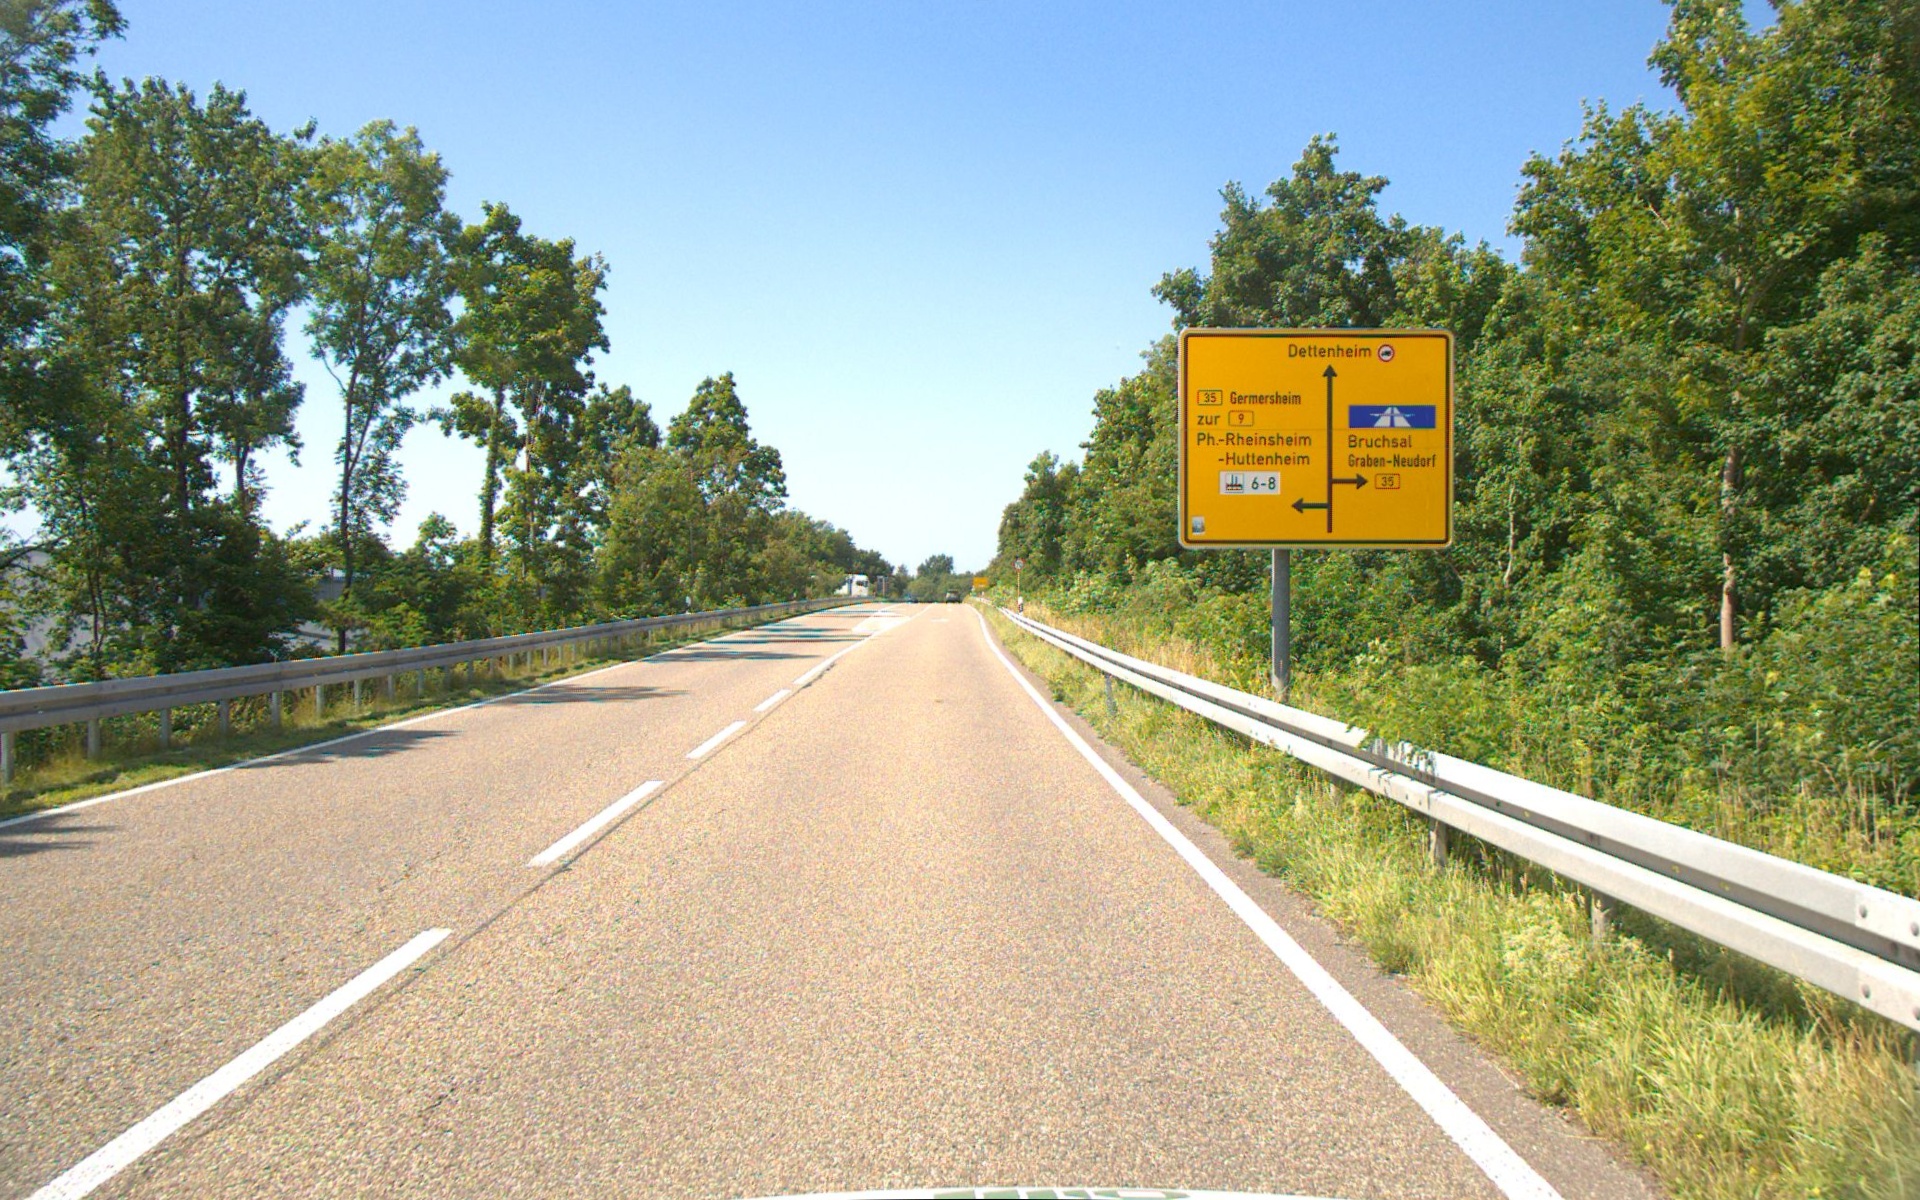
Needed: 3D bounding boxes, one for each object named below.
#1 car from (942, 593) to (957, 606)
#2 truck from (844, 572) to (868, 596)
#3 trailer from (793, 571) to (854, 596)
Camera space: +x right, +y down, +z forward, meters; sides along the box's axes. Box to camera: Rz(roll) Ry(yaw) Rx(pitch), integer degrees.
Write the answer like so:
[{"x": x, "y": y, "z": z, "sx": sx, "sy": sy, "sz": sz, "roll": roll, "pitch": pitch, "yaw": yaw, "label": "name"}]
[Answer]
[{"x": -1.267, "y": -0.054, "z": 193.963, "sx": 1.705, "sy": 1.496, "sz": 3.692, "roll": 0, "pitch": 0, "yaw": 0, "label": "car"}, {"x": -15.320, "y": -2.389, "z": 243.821, "sx": 3.394, "sy": 3.599, "sz": 2.000, "roll": 0, "pitch": 0, "yaw": 1, "label": "truck"}, {"x": -20.124, "y": -2.383, "z": 243.927, "sx": 8.914, "sy": 3.641, "sz": 2.000, "roll": 0, "pitch": 0, "yaw": 1, "label": "trailer"}]
